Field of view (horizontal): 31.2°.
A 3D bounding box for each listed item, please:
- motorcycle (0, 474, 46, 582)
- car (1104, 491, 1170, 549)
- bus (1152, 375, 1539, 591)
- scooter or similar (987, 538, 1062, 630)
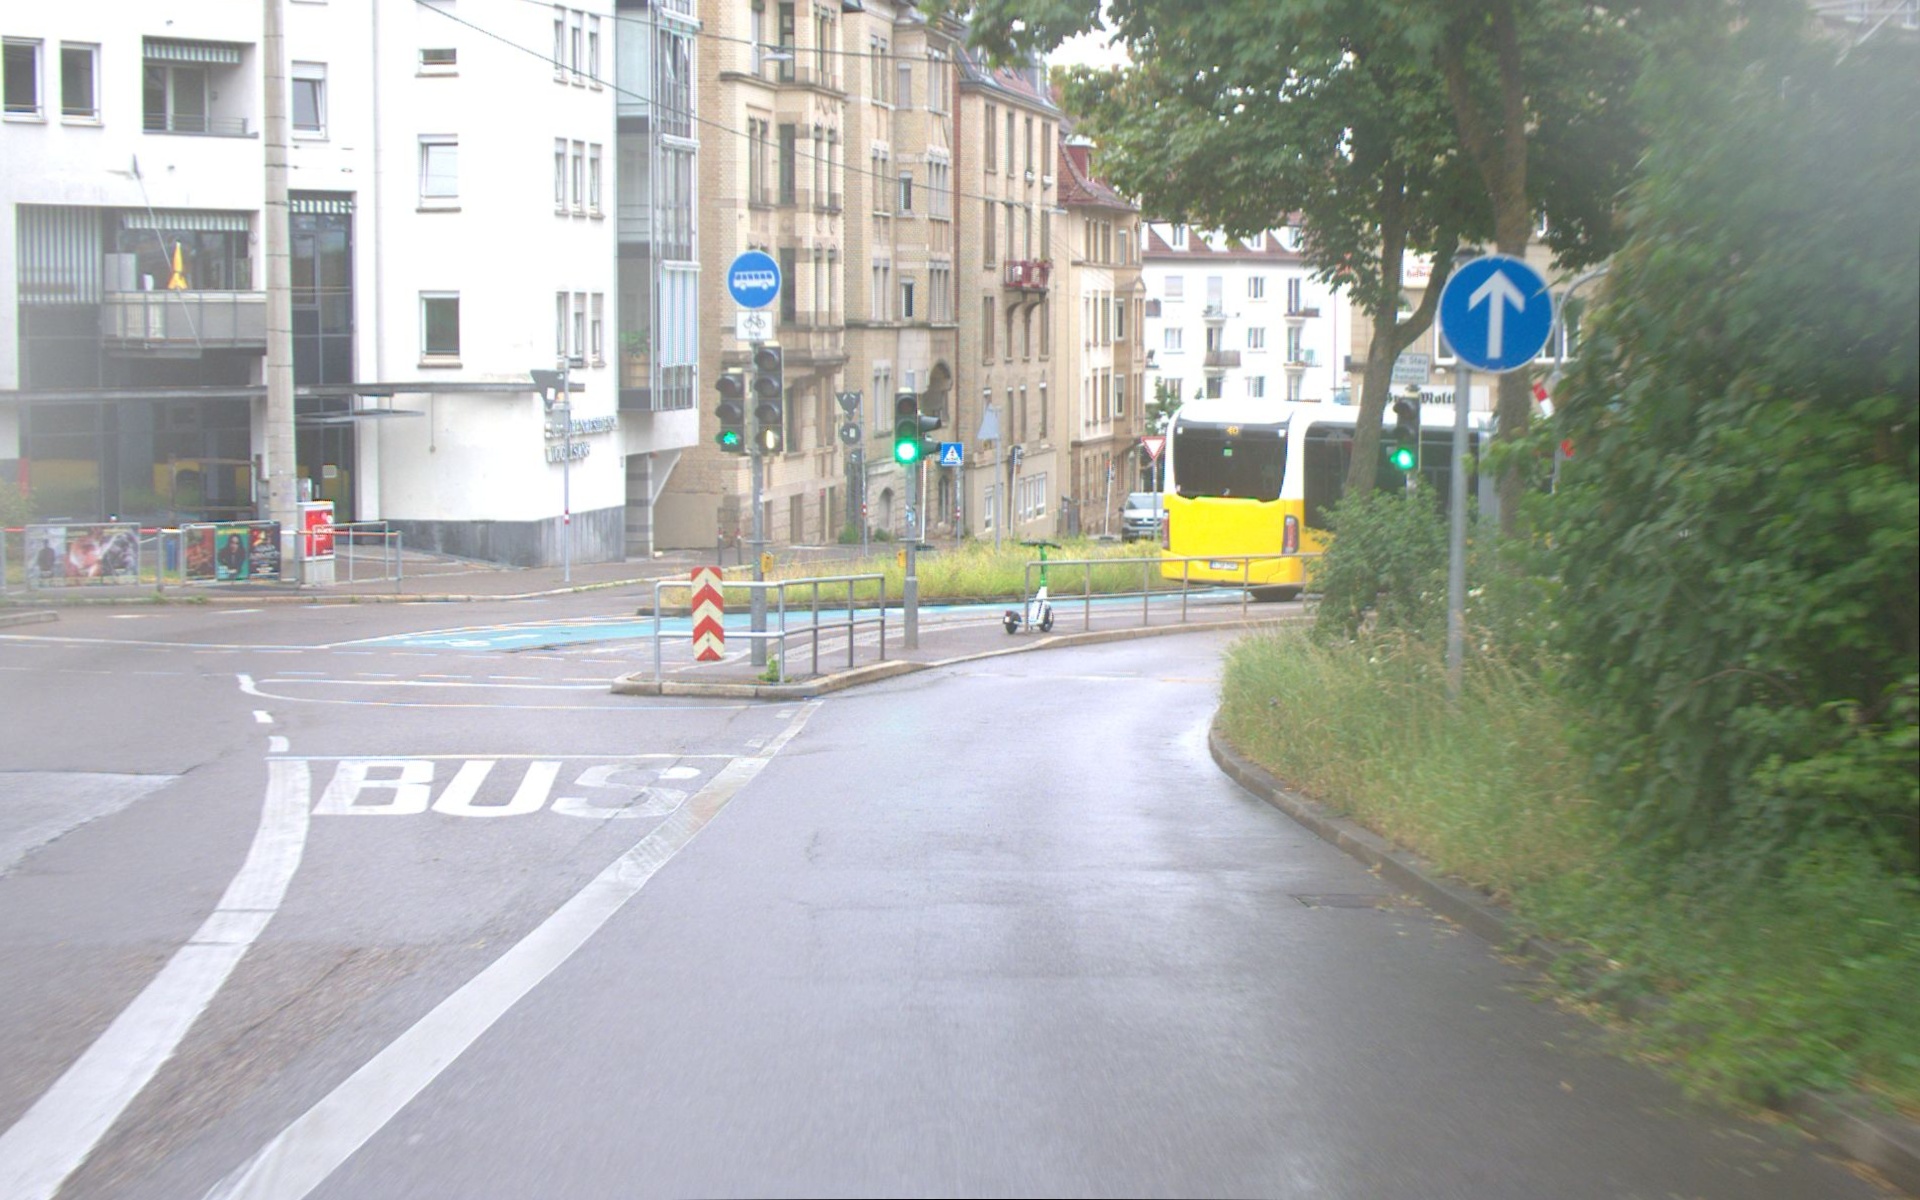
[{"bbox_3d":[-14.557,-1.062,50.085,0.699,1.545,2.436,6,4,35],"label":"motorcycle"},{"bbox_3d":[6.768,-3.071,132.207,2.137,2.129,4.858,2,1,-1],"label":"car"},{"bbox_3d":[6.836,-1.946,59.518,2.596,3.457,9.089,2,2,34],"label":"bus"},{"bbox_3d":[0.815,-0.210,43.255,0.434,1.109,1.604,3,2,19],"label":"scooter or similar"}]
